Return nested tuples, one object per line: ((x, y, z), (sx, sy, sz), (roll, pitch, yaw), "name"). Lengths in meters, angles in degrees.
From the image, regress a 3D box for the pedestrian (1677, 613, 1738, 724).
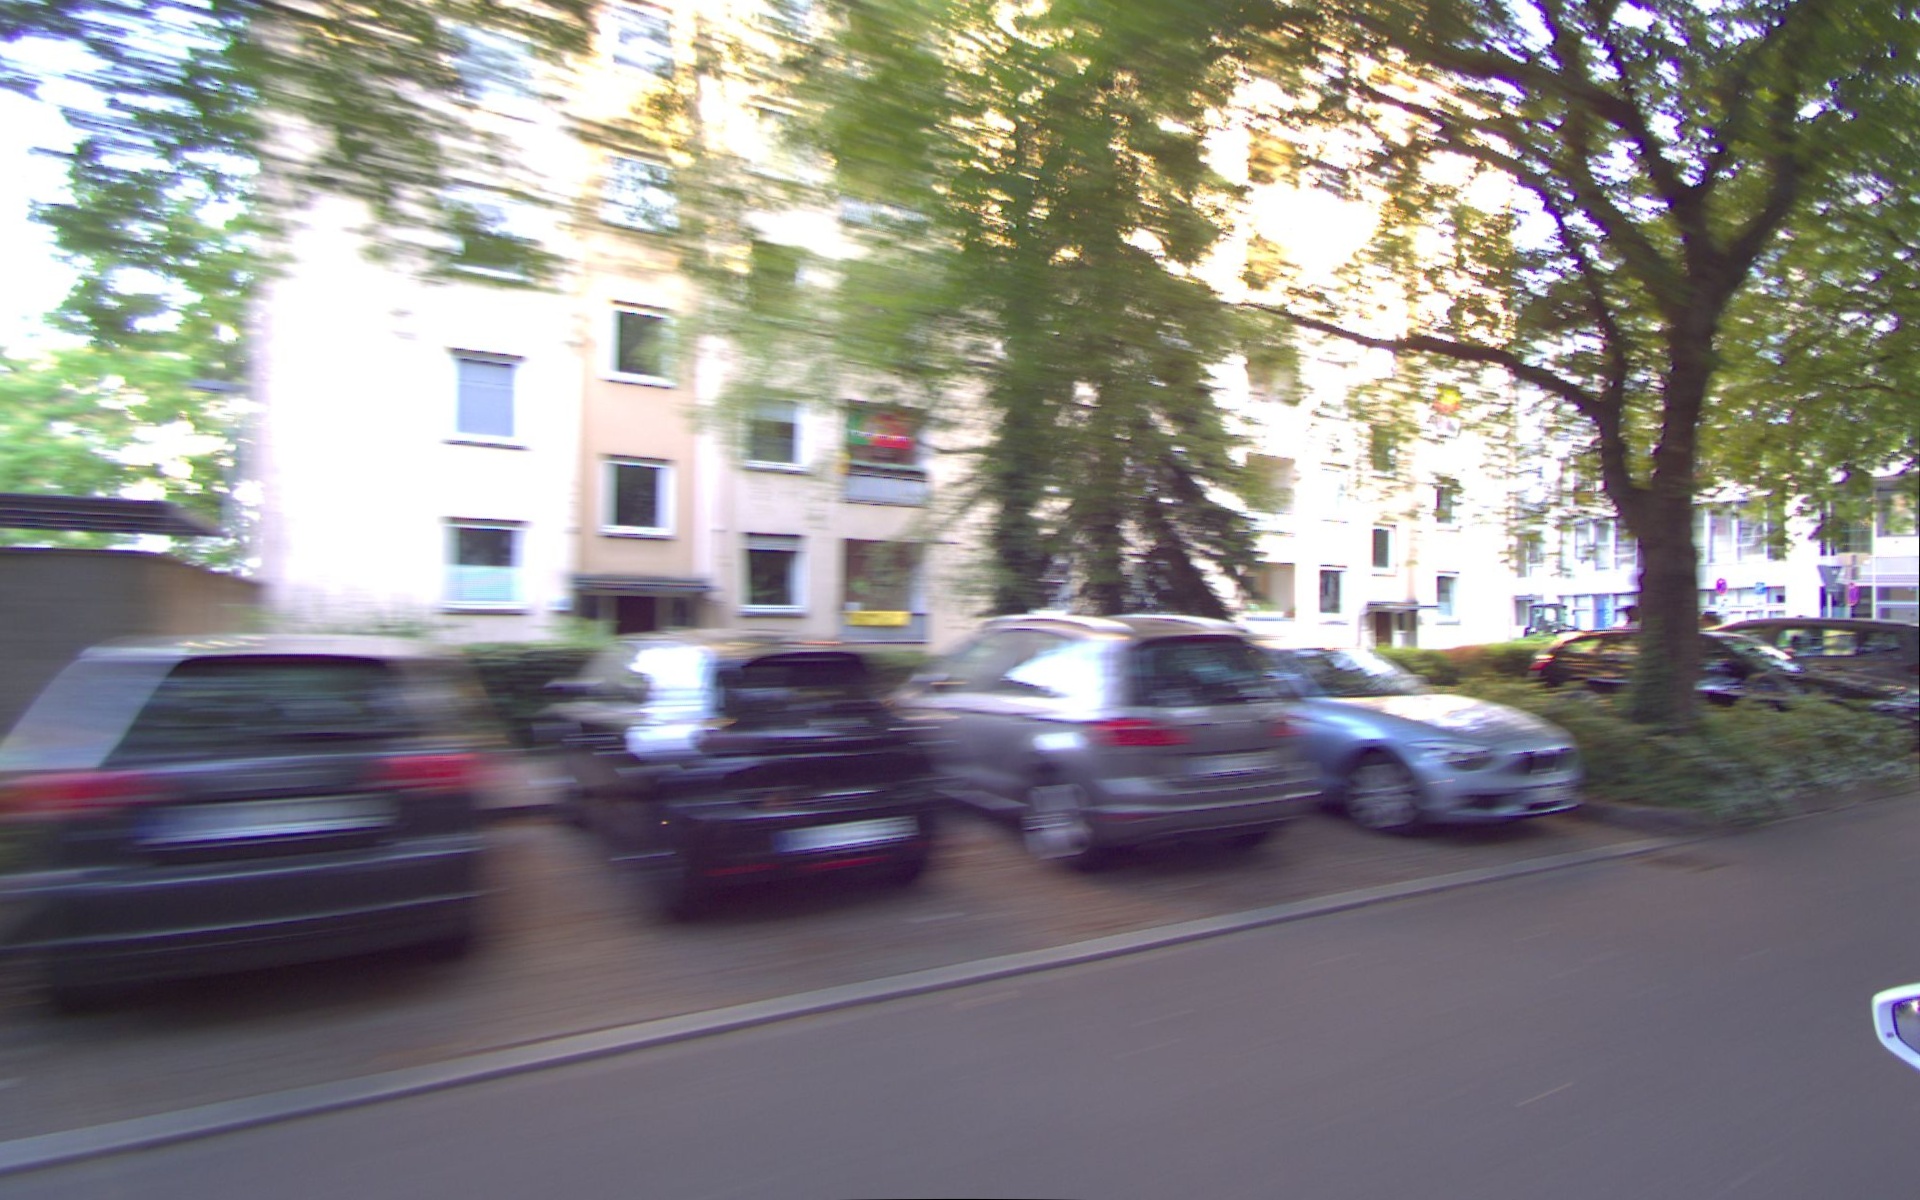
((12.438, 1.126, 16.728), (0.685, 1.812, 0.529), (0, -1, 20), "pedestrian")

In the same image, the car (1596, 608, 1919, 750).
((12.147, 1.033, 14.674), (2.041, 1.707, 4.373), (1, 0, -31), "car")

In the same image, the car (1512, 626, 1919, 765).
((10.298, 1.119, 13.476), (2.048, 1.443, 4.691), (1, -1, -31), "car")

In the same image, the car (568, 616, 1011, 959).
((-1.303, 0.876, 6.371), (1.646, 1.526, 3.387), (1, -1, -31), "car")

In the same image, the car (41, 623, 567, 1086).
((-3.142, 0.865, 5.101), (1.576, 1.461, 3.387), (1, -1, -31), "car")

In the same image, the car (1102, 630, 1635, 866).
((3.212, 1.032, 8.741), (1.727, 1.398, 4.078), (1, 0, -31), "car")

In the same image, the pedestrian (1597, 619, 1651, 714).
((11.370, 1.133, 17.220), (0.440, 1.592, 0.661), (0, -1, -6), "pedestrian")

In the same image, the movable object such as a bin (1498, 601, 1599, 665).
((25.714, 1.435, 44.053), (1.768, 2.669, 4.108), (0, -2, -5), "movable object such as a bin")

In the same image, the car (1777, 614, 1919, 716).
((16.682, 1.123, 16.616), (2.030, 1.602, 4.479), (2, 0, -28), "car")

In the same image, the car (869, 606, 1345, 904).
((0.856, 0.887, 7.417), (1.741, 1.630, 3.387), (1, -1, -31), "car")
